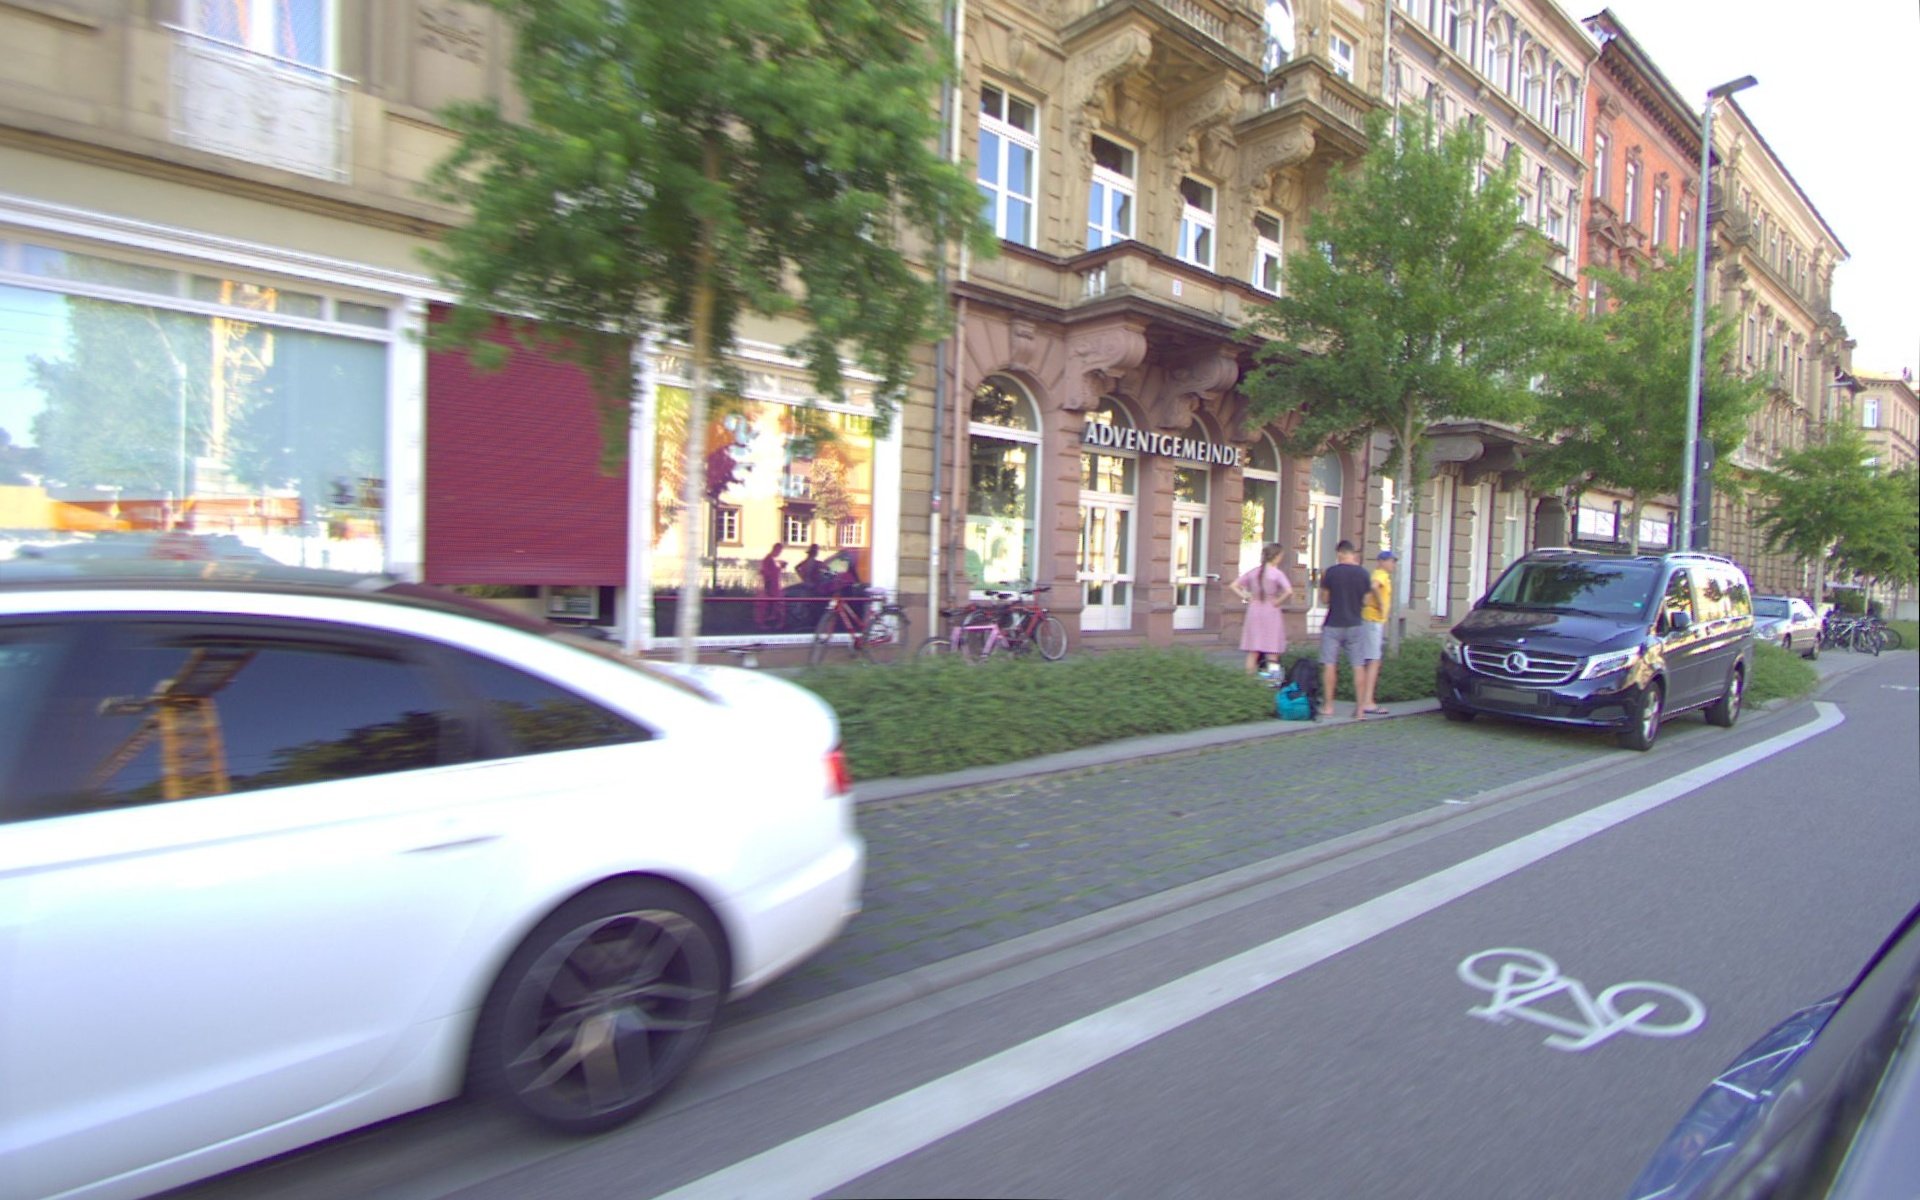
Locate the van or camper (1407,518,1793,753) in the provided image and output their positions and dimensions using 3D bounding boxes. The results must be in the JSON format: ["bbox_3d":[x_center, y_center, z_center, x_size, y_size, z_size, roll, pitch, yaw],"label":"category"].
[{"bbox_3d":[7.256,0.258,11.186,5.390,1.995,1.966,0,4,-40],"label":"van or camper"}]

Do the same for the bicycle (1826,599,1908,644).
[{"bbox_3d":[25.250,0.578,28.194,0.566,1.132,1.584,1,2,-38],"label":"bicycle"}]

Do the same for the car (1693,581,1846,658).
[{"bbox_3d":[18.509,0.404,23.063,4.657,1.502,1.695,0,4,-39],"label":"car"}]

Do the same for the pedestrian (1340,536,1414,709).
[{"bbox_3d":[4.342,0.218,10.542,0.482,1.749,0.505,0,1,-41],"label":"pedestrian"}]

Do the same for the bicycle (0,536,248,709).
[{"bbox_3d":[-6.538,0.141,7.705,1.743,1.210,0.719,0,2,-44],"label":"bicycle"}]

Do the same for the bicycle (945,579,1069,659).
[{"bbox_3d":[0.691,0.243,14.173,2.036,1.046,0.343,0,2,-41],"label":"bicycle"}]

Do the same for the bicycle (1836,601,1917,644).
[{"bbox_3d":[26.602,0.629,29.393,0.522,1.132,1.690,0,2,-45],"label":"bicycle"}]

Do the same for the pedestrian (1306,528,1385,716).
[{"bbox_3d":[3.794,0.206,9.981,0.495,1.800,0.473,1,1,-21],"label":"pedestrian"}]

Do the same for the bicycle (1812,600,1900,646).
[{"bbox_3d":[24.234,0.601,27.404,0.520,1.132,1.693,1,2,-38],"label":"bicycle"}]

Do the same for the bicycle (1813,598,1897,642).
[{"bbox_3d":[25.514,0.563,28.861,0.520,1.132,1.693,1,2,-38],"label":"bicycle"}]

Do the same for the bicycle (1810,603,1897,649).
[{"bbox_3d":[23.291,0.660,26.418,0.469,1.065,1.614,1,2,-38],"label":"bicycle"}]

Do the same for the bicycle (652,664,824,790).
[{"bbox_3d":[-1.364,0.760,6.287,0.984,0.655,0.355,0,2,-41],"label":"bicycle"}]

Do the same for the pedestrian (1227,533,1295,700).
[{"bbox_3d":[3.240,0.165,10.933,0.567,1.749,0.482,1,1,4],"label":"pedestrian"}]

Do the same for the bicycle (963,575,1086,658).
[{"bbox_3d":[0.917,0.209,13.905,2.036,1.078,0.325,0,2,-41],"label":"bicycle"}]

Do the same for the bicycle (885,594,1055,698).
[{"bbox_3d":[0.122,0.417,10.010,1.653,0.927,0.656,0,2,-41],"label":"bicycle"}]

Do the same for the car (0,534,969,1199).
[{"bbox_3d":[-2.529,0.601,2.377,5.162,1.471,1.853,0,4,-42],"label":"car"}]

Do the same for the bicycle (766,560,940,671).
[{"bbox_3d":[-1.252,0.160,12.177,2.036,1.235,0.706,0,2,-41],"label":"bicycle"}]
